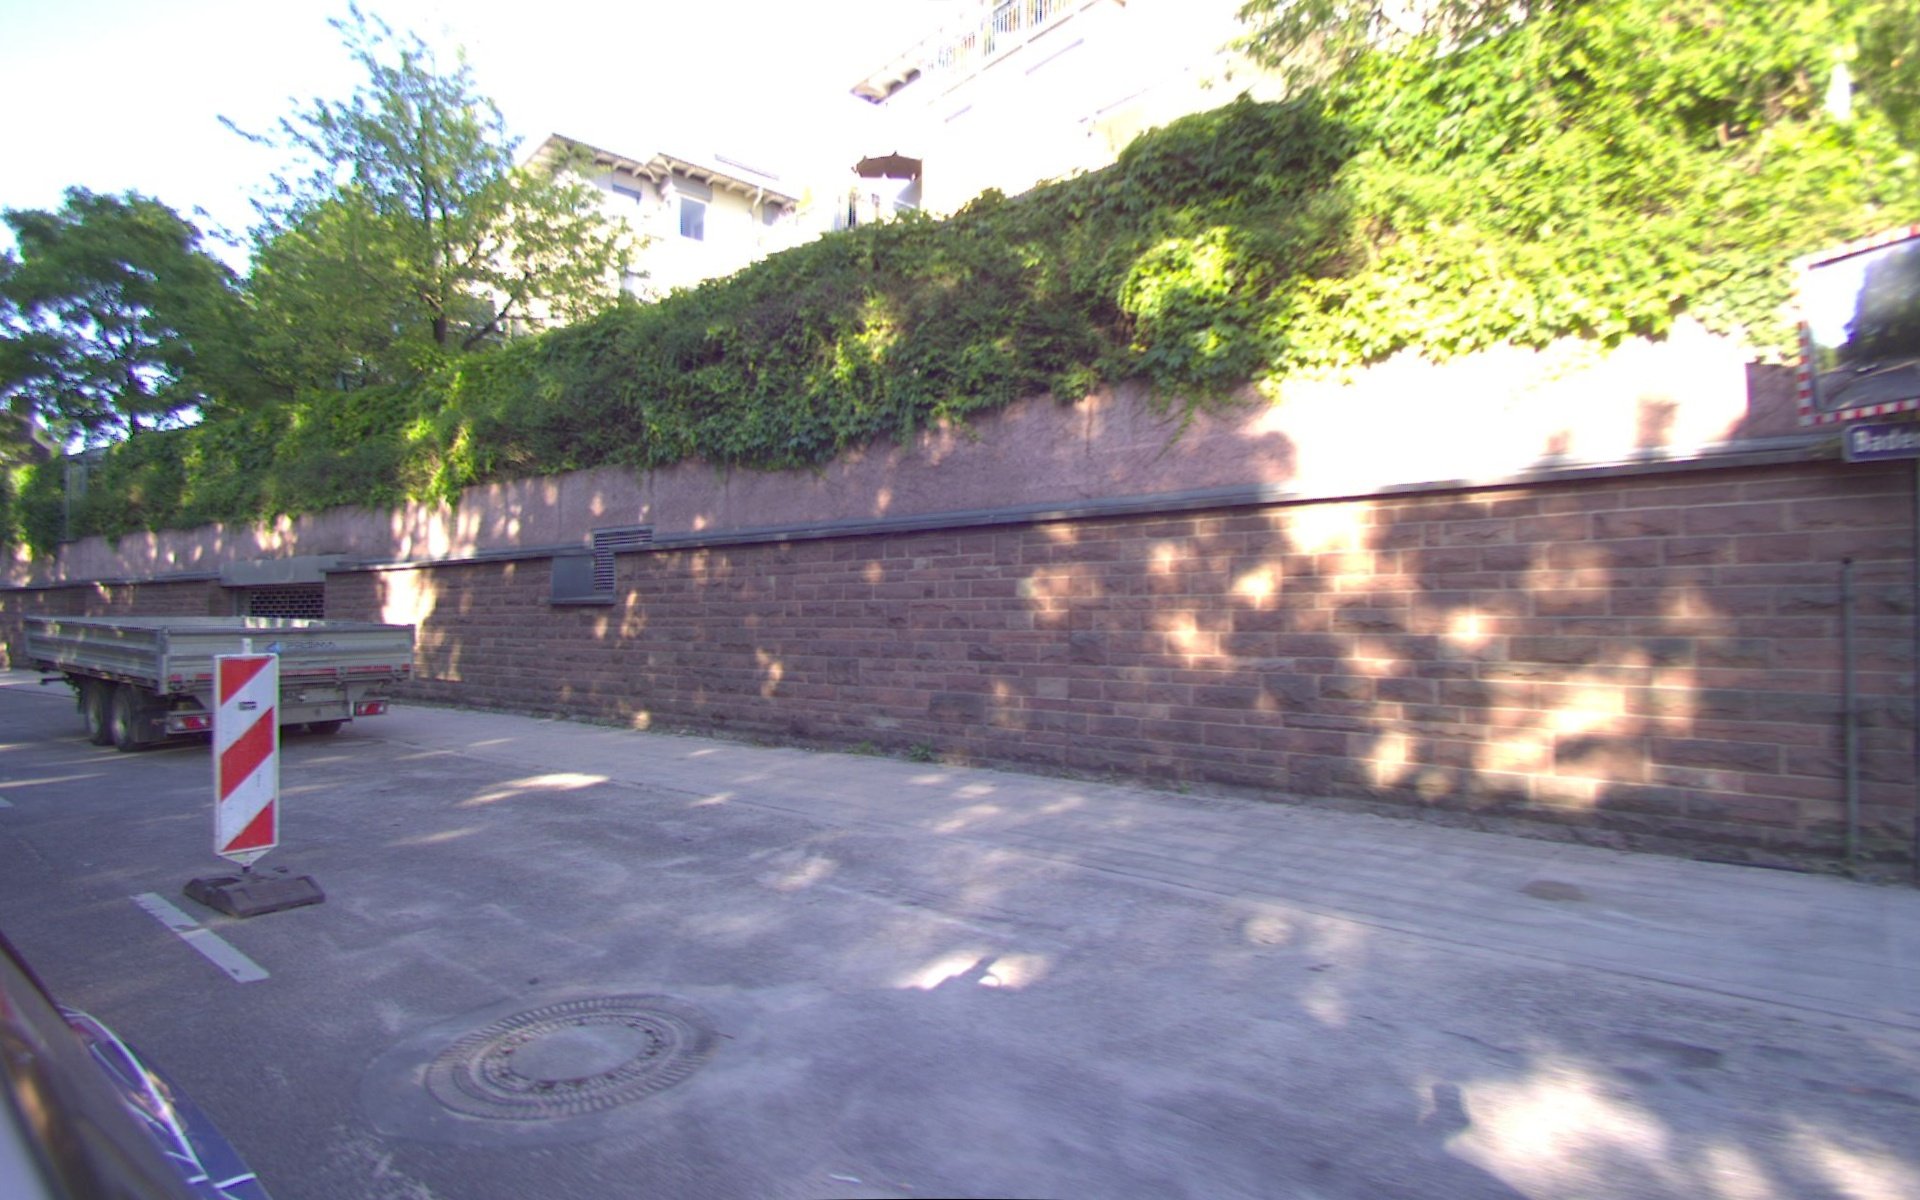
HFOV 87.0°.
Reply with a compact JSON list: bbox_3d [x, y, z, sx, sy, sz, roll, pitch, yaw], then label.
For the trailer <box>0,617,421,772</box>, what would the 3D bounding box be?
[{"bbox_3d":[-10.045,0.980,13.077,7.104,1.500,2.616,-1,-1,36],"label":"trailer"}]
